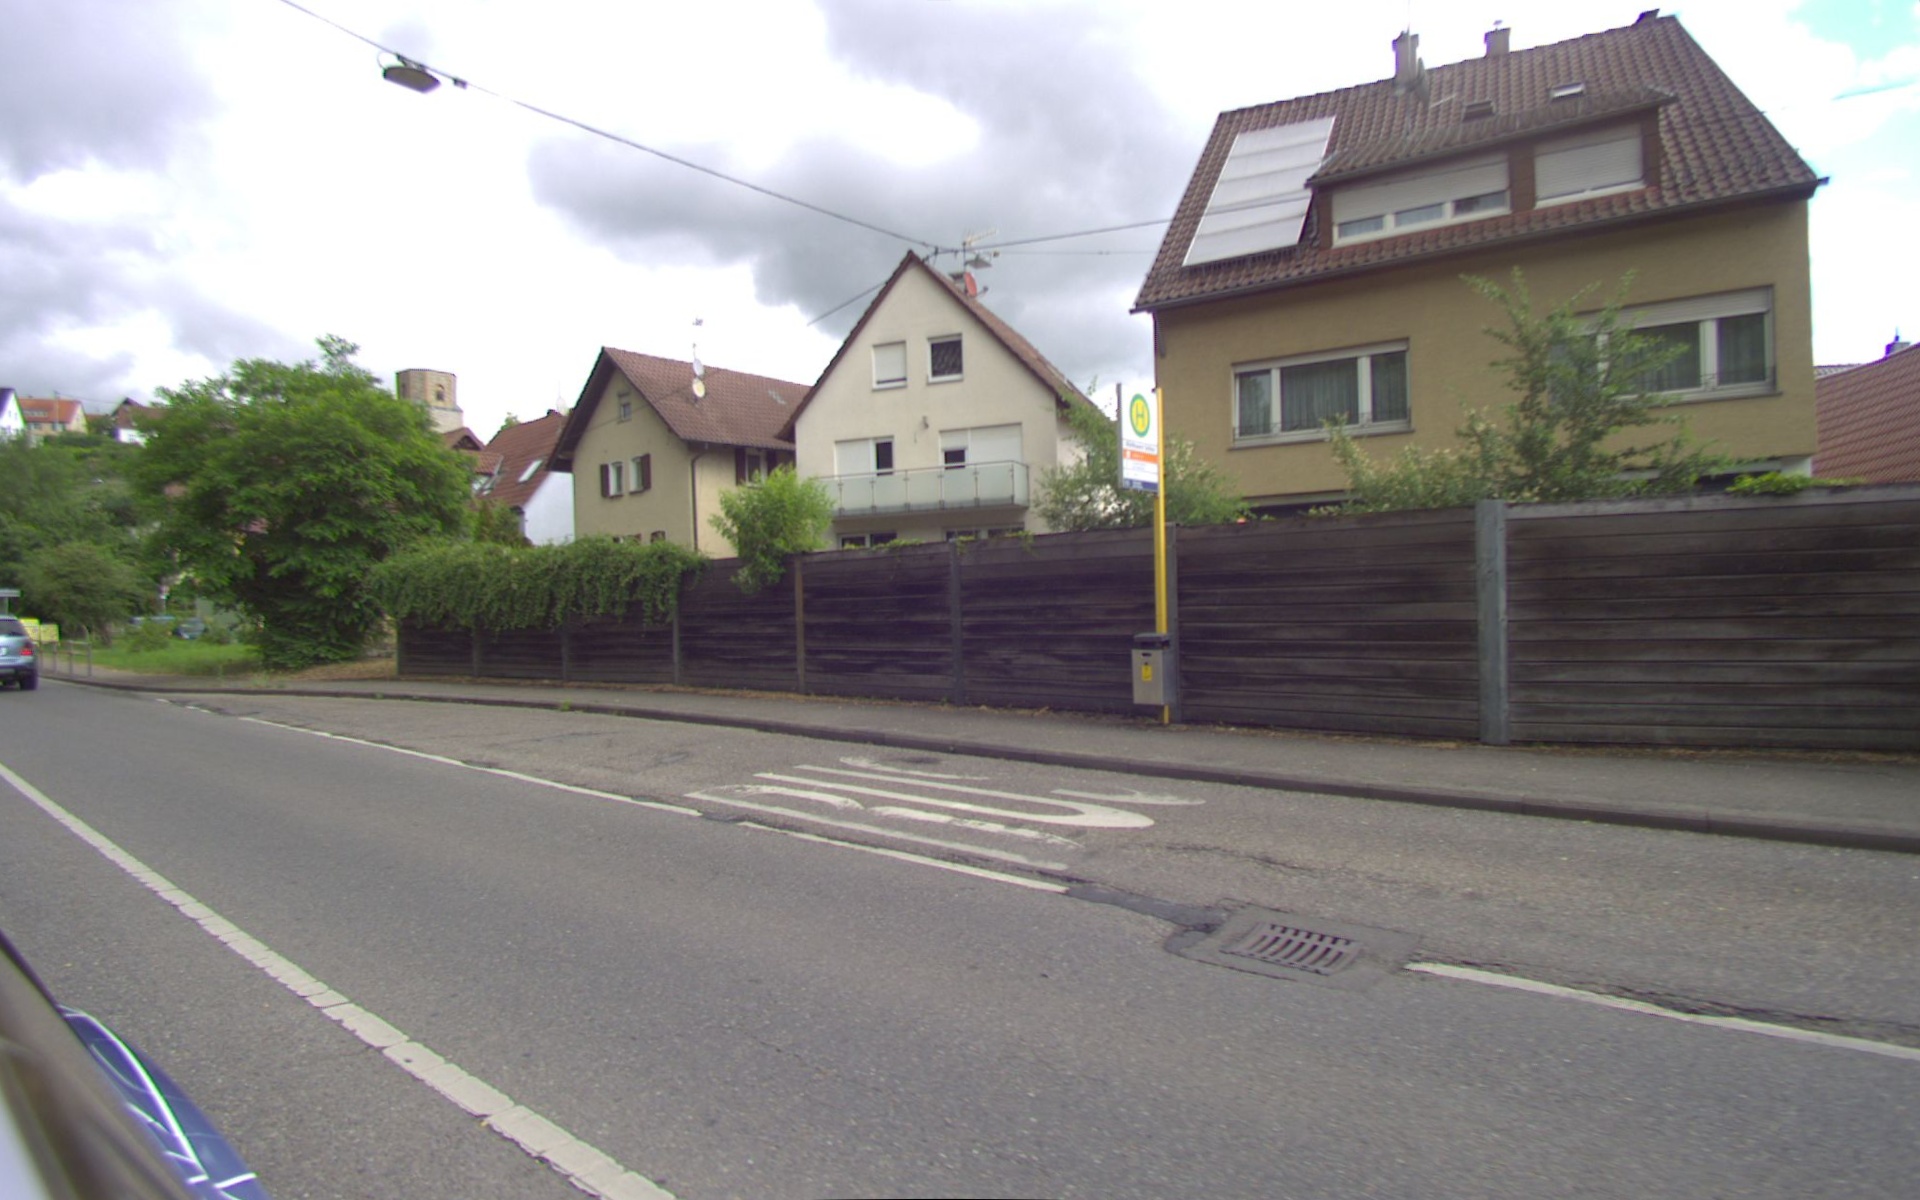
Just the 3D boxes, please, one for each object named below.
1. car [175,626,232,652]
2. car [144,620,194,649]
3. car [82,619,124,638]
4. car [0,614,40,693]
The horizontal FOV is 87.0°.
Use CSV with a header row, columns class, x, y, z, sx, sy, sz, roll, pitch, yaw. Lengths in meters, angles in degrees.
class,x,y,z,sx,sy,sz,roll,pitch,yaw
car,-39.956,2.034,53.397,1.970,1.287,4.004,0,-1,-43
car,-47.486,2.049,60.751,4.001,1.630,1.791,-1,-2,44
car,-60.928,2.018,71.959,4.149,1.355,1.628,-2,-2,41
car,-23.100,1.223,23.537,4.688,1.737,1.915,-2,-1,40
